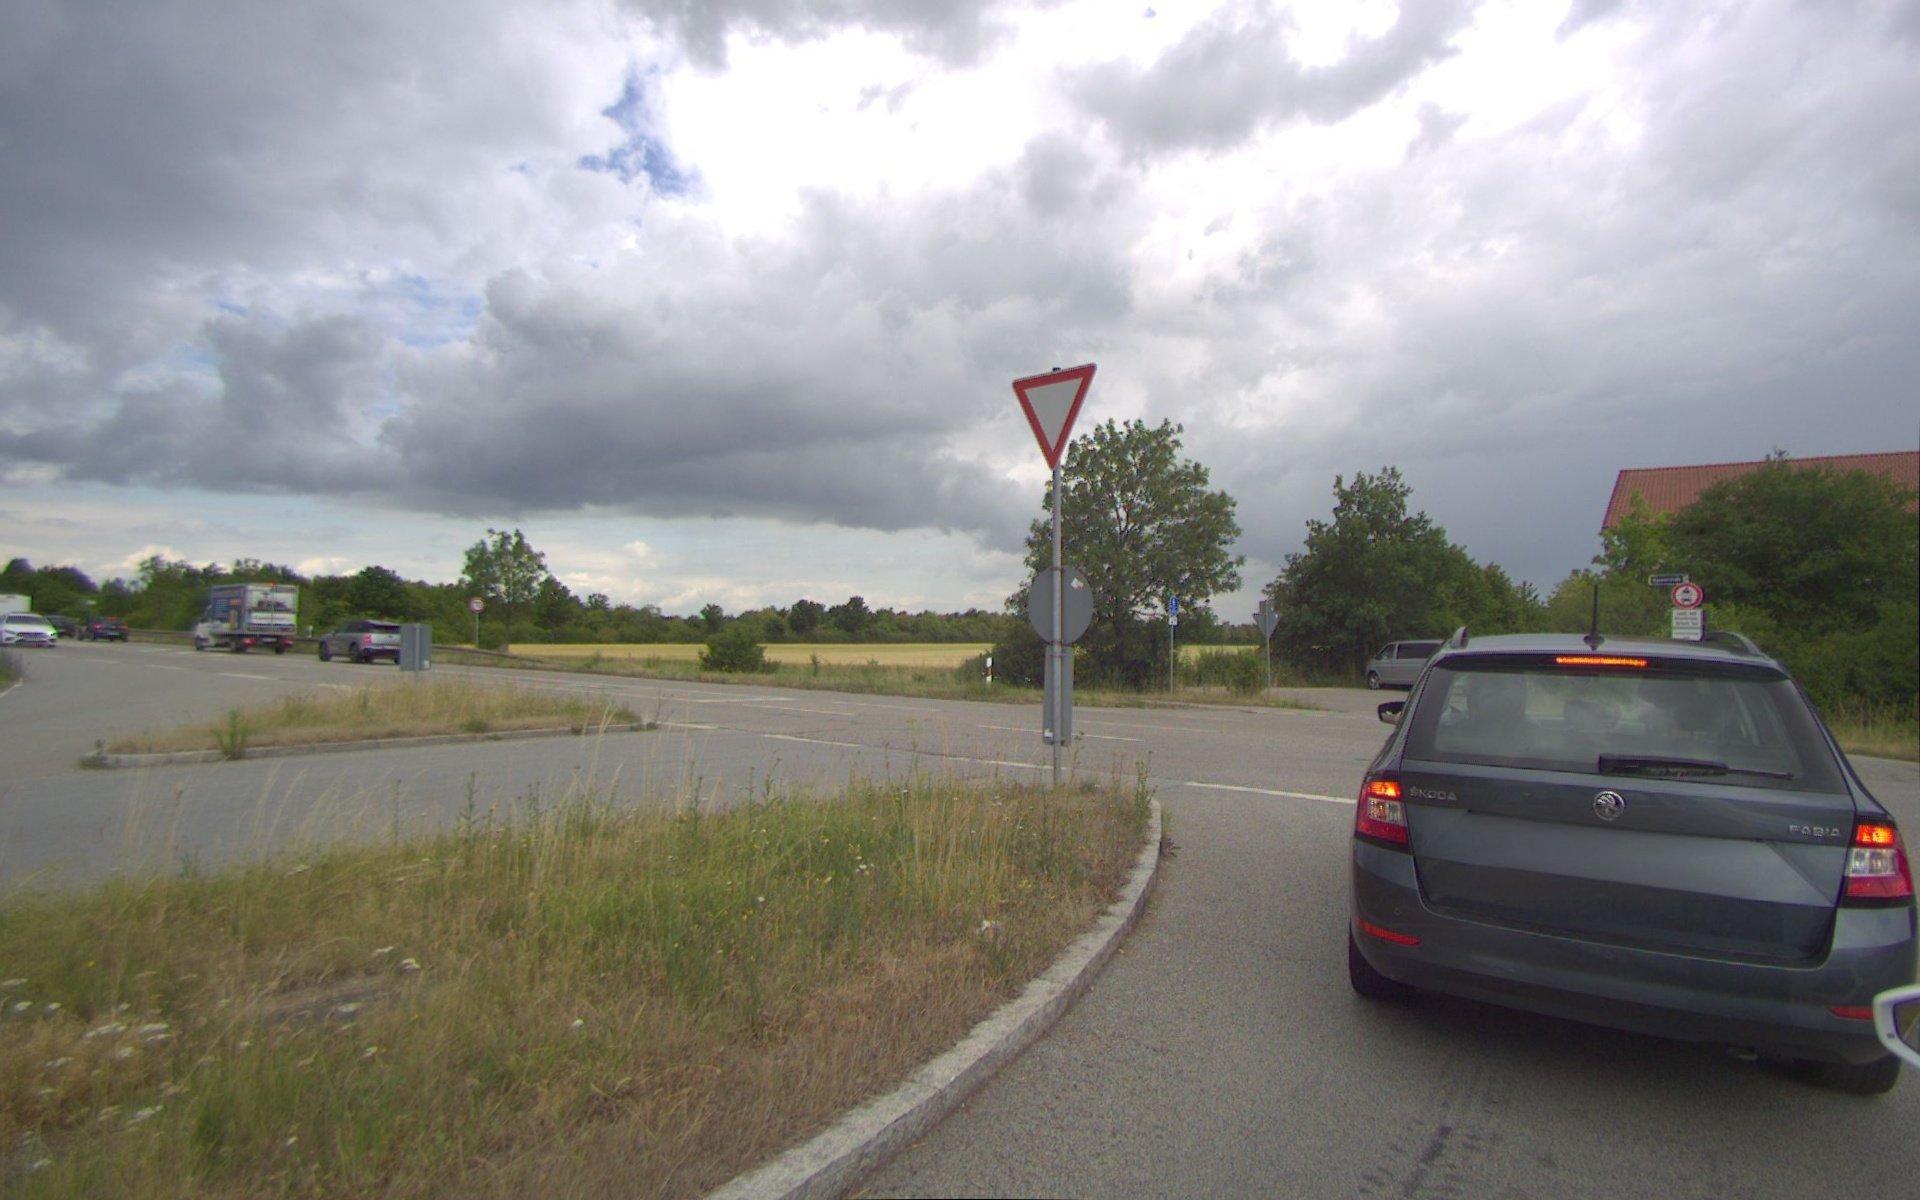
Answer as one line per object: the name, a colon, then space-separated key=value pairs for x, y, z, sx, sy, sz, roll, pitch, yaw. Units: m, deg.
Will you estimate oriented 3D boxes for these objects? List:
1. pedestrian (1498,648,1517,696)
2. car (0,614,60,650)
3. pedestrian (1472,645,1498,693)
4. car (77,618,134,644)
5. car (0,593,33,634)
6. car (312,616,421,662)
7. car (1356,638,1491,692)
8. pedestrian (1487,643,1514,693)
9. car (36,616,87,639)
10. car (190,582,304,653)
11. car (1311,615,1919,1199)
pedestrian: x=20.600 y=2.689 z=37.784 sx=0.484 sy=1.769 sz=0.640 roll=-1 pitch=-2 yaw=40
car: x=-40.721 y=1.400 z=43.463 sx=4.321 sy=1.470 sz=1.766 roll=-1 pitch=-3 yaw=36
pedestrian: x=19.632 y=2.571 z=37.591 sx=0.693 sy=1.745 sz=0.729 roll=-1 pitch=-2 yaw=43
car: x=-52.826 y=1.919 z=62.076 sx=3.936 sy=1.545 sz=1.842 roll=-1 pitch=-2 yaw=37
car: x=-74.305 y=1.067 z=77.818 sx=6.451 sy=3.069 sz=2.333 roll=-1 pitch=-2 yaw=36
car: x=-22.815 y=1.508 z=38.588 sx=4.191 sy=1.644 sz=1.995 roll=-1 pitch=-5 yaw=35
car: x=17.825 y=2.454 z=38.928 sx=2.076 sy=1.910 sz=5.089 roll=0 pitch=-2 yaw=-13
pedestrian: x=19.593 y=2.449 z=36.404 sx=0.715 sy=1.745 sz=0.788 roll=-1 pitch=-2 yaw=40
car: x=-61.090 y=1.882 z=68.272 sx=3.936 sy=1.545 sz=1.842 roll=-1 pitch=-2 yaw=36
car: x=-33.646 y=0.869 z=47.344 sx=6.452 sy=3.068 sz=2.334 roll=-1 pitch=-5 yaw=37
car: x=2.880 y=0.856 z=4.606 sx=1.688 sy=1.466 sz=4.110 roll=1 pitch=-1 yaw=29
